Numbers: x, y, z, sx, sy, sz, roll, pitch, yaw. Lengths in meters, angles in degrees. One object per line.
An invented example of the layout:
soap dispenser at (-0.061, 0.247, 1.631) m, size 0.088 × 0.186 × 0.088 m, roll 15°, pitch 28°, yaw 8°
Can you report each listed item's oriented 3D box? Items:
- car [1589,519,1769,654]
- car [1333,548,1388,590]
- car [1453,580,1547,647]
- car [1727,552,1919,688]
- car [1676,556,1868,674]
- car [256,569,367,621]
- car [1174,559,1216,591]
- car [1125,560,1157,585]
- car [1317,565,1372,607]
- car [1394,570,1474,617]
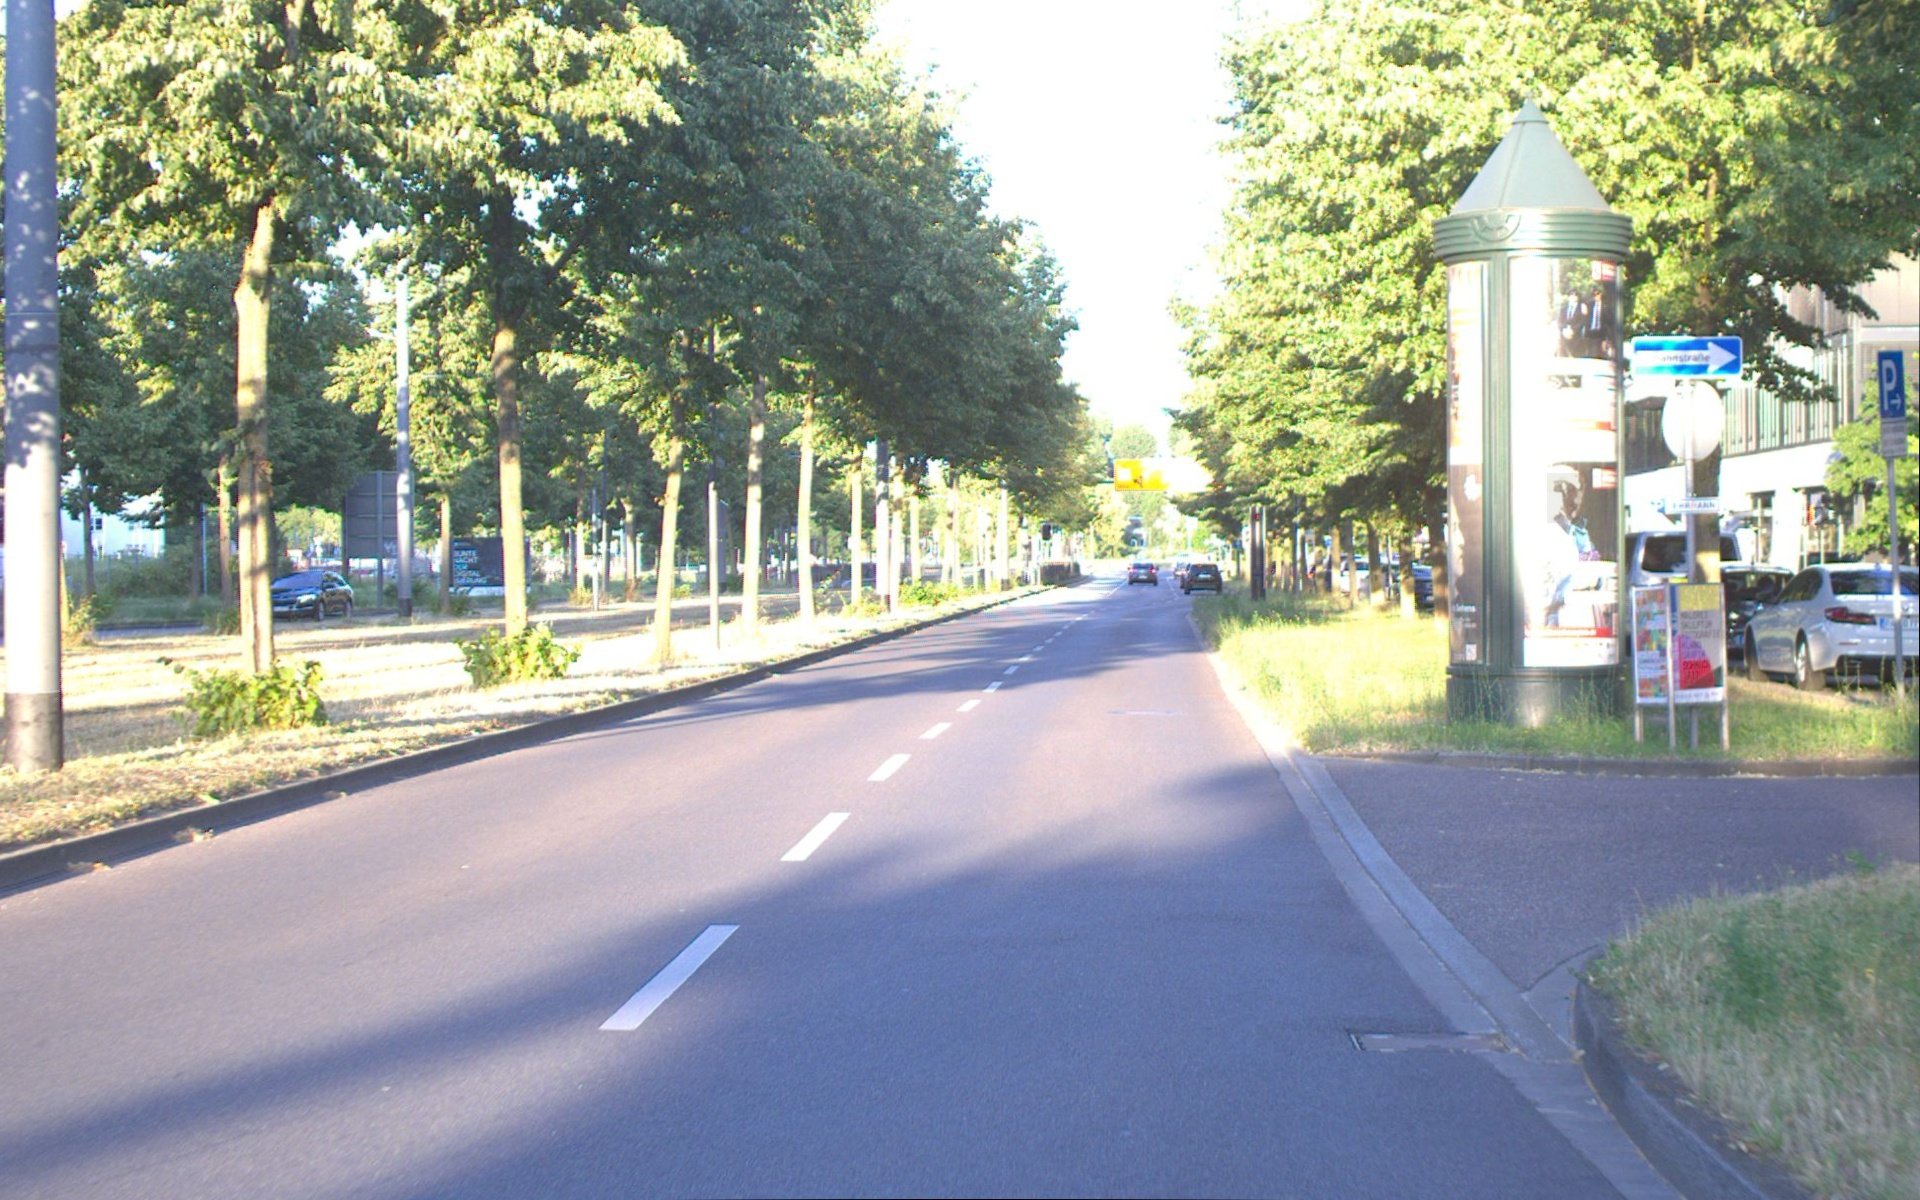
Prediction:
car at (11.195, -0.226, 53.834) m, size 1.986 × 1.982 × 4.932 m, roll 1°, pitch 1°, yaw 3°
car at (16.102, -1.232, 138.398) m, size 1.994 × 1.637 × 4.877 m, roll 0°, pitch 0°, yaw 4°
car at (13.013, 0.305, 83.015) m, size 1.781 × 1.489 × 4.000 m, roll 3°, pitch 1°, yaw 3°
car at (10.513, 0.200, 40.548) m, size 1.917 × 1.491 × 5.041 m, roll 1°, pitch 1°, yaw 2°
car at (10.959, 0.165, 46.659) m, size 1.859 × 1.491 × 4.290 m, roll 0°, pitch 1°, yaw 4°
car at (-18.111, -0.154, 96.185) m, size 1.931 × 1.418 × 4.387 m, roll -1°, pitch 1°, yaw 5°
car at (11.091, -1.167, 162.588) m, size 1.912 × 1.481 × 4.000 m, roll 0°, pitch 0°, yaw 3°
car at (10.989, -1.656, 208.962) m, size 1.912 × 1.481 × 4.000 m, roll 0°, pitch 0°, yaw 3°
car at (16.878, -0.620, 151.185) m, size 1.993 × 1.845 × 4.665 m, roll 0°, pitch 0°, yaw 1°
car at (14.280, -0.190, 103.675) m, size 1.852 × 1.363 × 4.834 m, roll -1°, pitch 0°, yaw 2°
